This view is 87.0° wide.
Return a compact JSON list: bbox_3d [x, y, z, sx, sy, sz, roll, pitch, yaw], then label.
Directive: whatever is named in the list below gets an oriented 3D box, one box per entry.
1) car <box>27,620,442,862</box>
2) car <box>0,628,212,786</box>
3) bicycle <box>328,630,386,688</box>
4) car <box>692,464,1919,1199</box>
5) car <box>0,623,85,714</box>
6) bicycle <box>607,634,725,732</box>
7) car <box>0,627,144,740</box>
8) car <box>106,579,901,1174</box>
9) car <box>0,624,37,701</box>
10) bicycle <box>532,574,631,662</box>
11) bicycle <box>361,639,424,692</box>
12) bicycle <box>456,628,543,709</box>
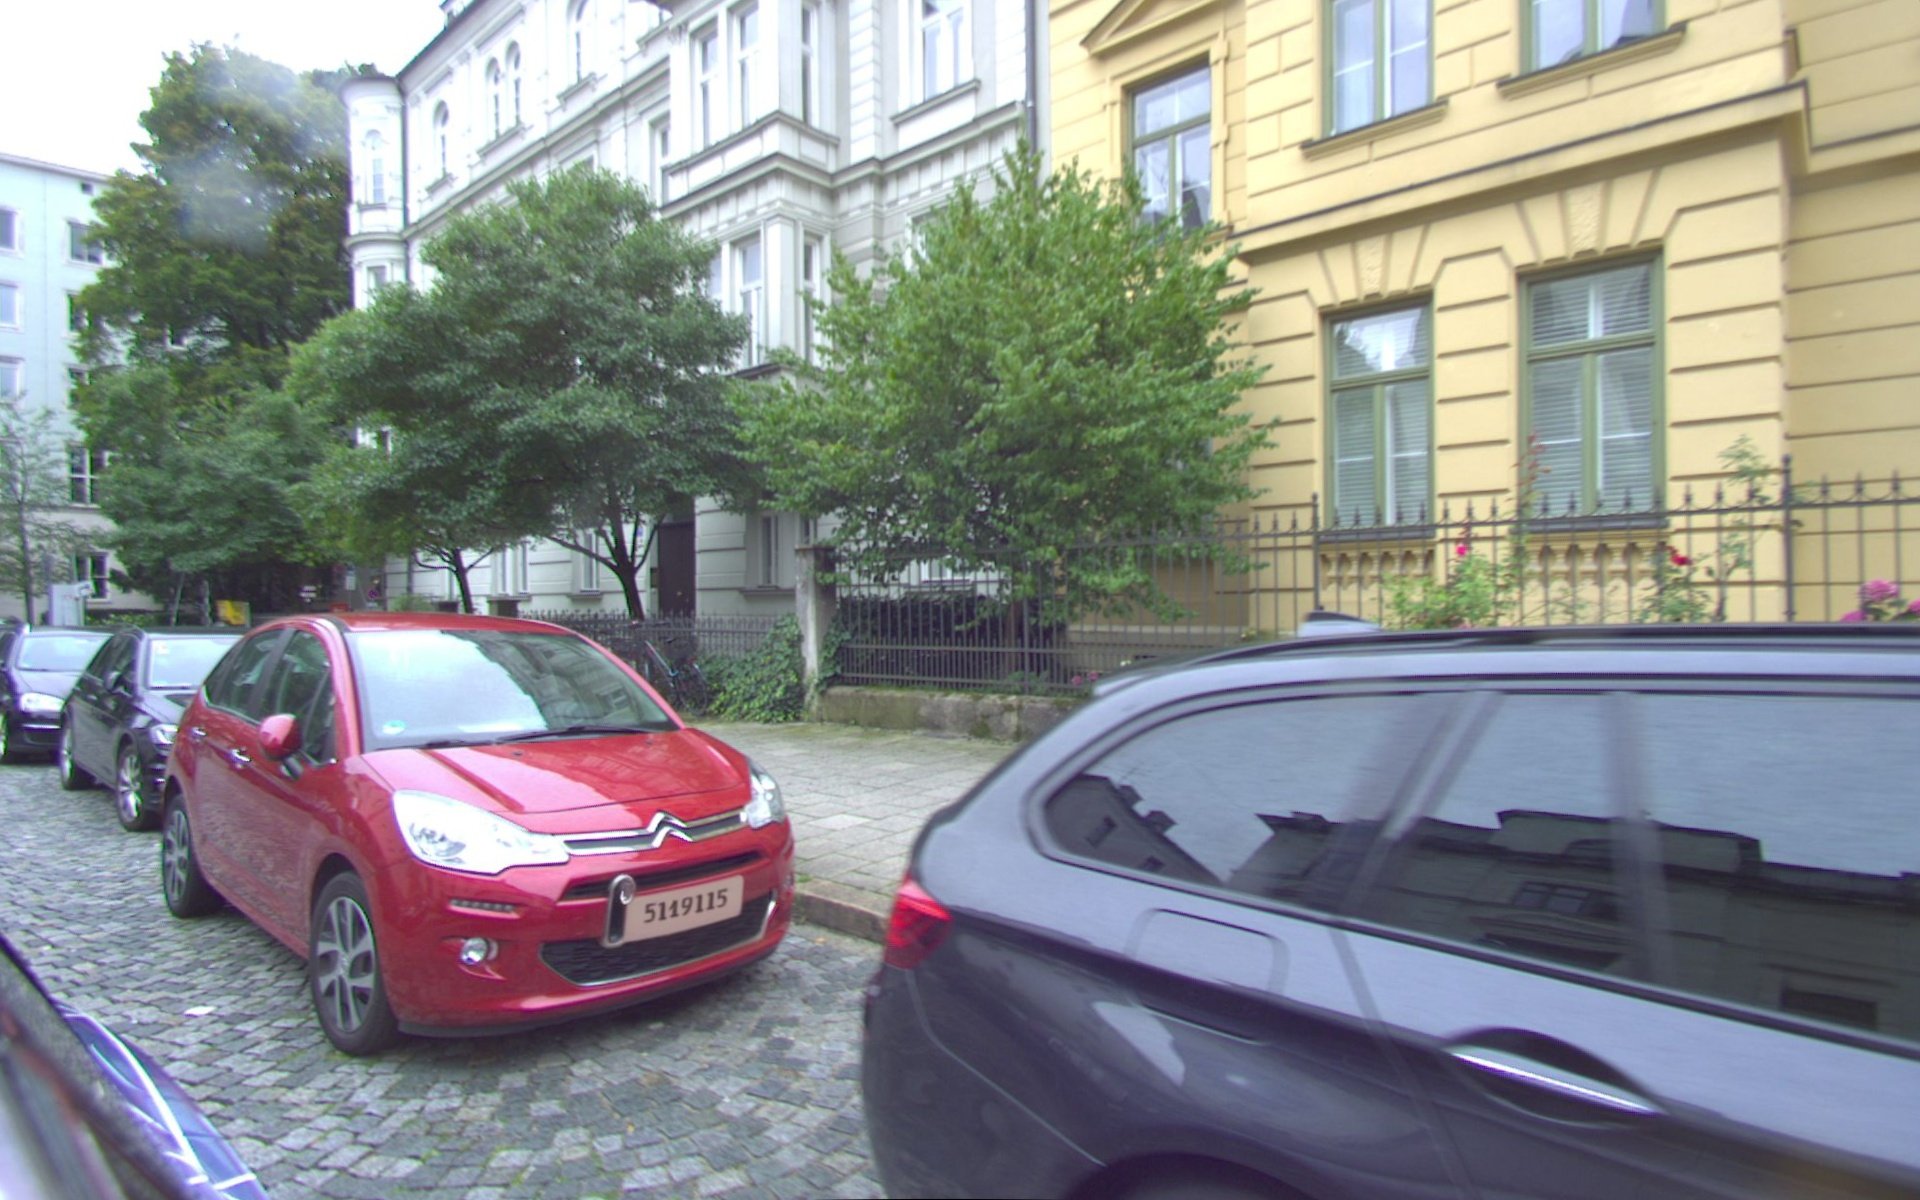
[{"bbox_3d":[-6.382,0.978,8.676,4.640,1.521,1.799,-1,-4,41],"label":"car"},{"bbox_3d":[-10.382,1.096,11.907,4.511,1.510,1.790,-1,-2,44],"label":"car"},{"bbox_3d":[-11.921,1.143,19.982,1.694,1.059,0.458,-1,3,42],"label":"bicycle"},{"bbox_3d":[2.012,0.627,1.080,5.130,1.481,1.851,-1,-2,40],"label":"car"},{"bbox_3d":[-17.509,1.179,18.340,4.276,1.510,1.723,-1,-2,38],"label":"car"},{"bbox_3d":[-3.604,0.979,12.326,1.759,1.059,0.468,-1,3,42],"label":"bicycle"},{"bbox_3d":[-14.065,1.175,15.448,4.130,1.510,1.722,-1,-2,40],"label":"car"},{"bbox_3d":[-2.414,0.794,4.799,4.189,1.598,1.822,-1,-2,40],"label":"car"},{"bbox_3d":[-21.566,1.315,21.967,4.278,1.594,1.722,-1,-2,40],"label":"car"},{"bbox_3d":[-5.166,0.236,13.757,1.790,1.107,0.429,-1,3,42],"label":"bicycle"},{"bbox_3d":[-10.563,1.206,18.811,1.790,0.879,0.434,-1,3,42],"label":"bicycle"},{"bbox_3d":[-7.170,1.031,15.714,1.790,1.132,0.504,-1,3,42],"label":"bicycle"}]
